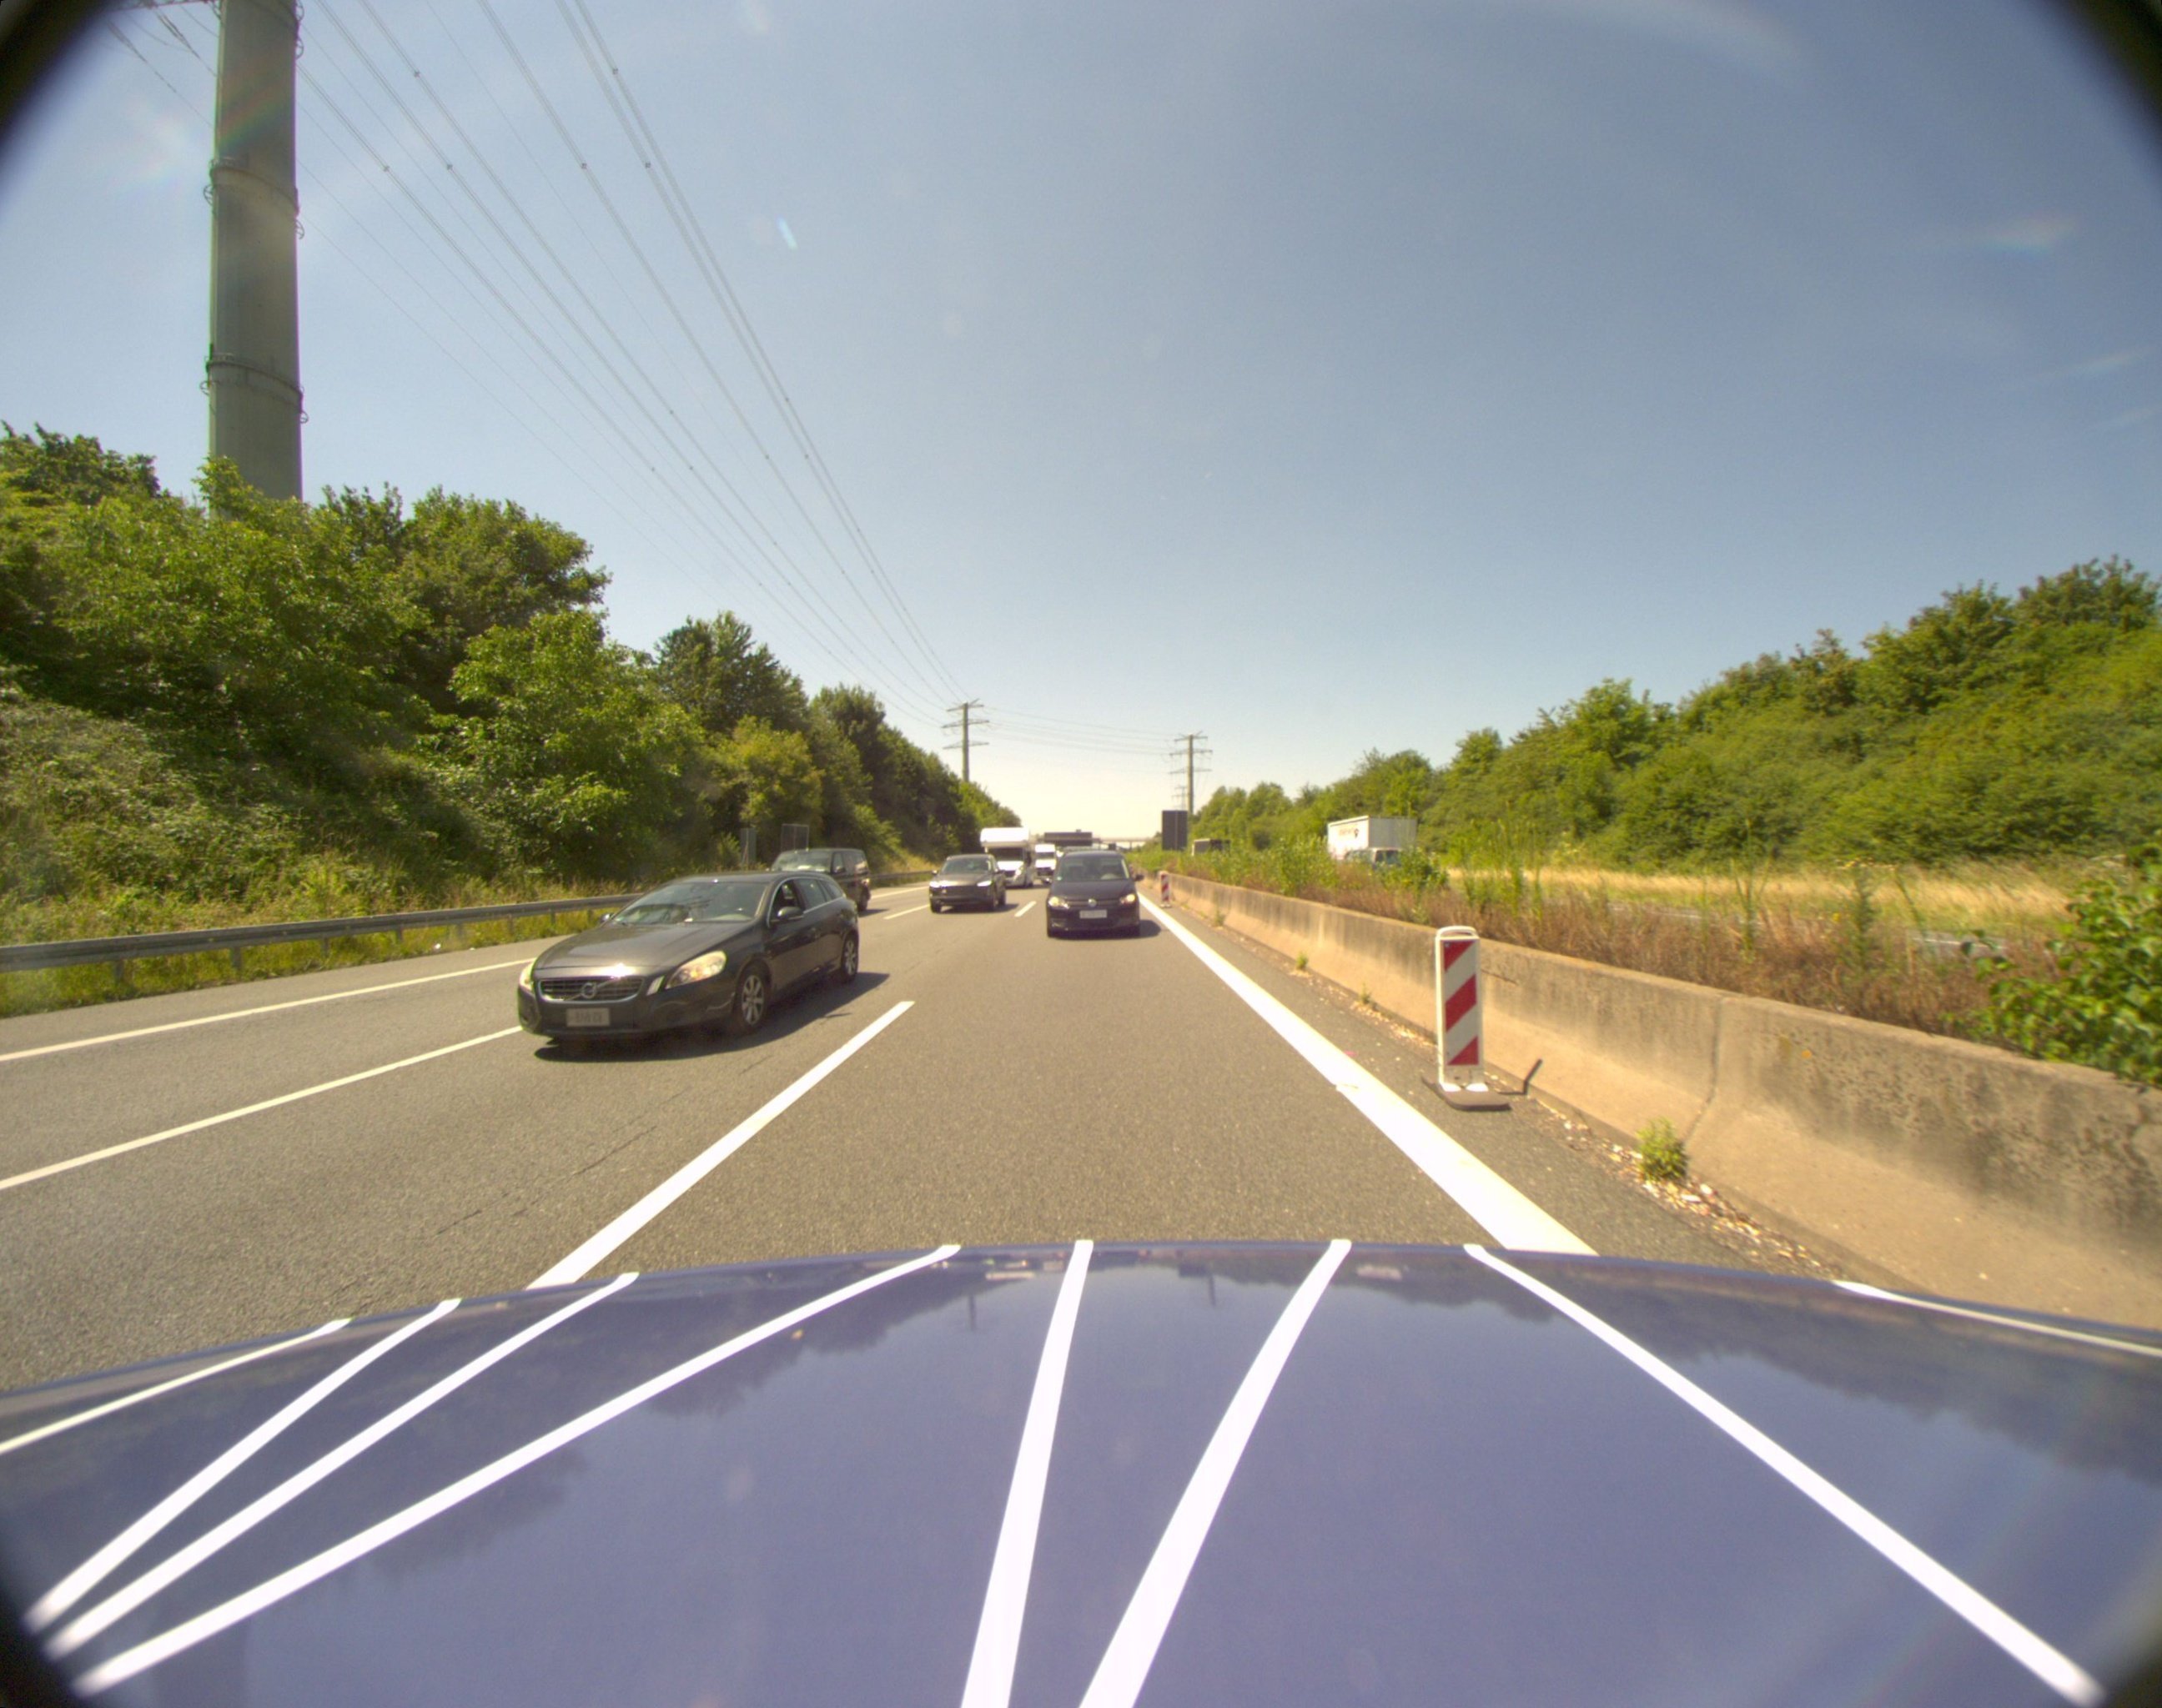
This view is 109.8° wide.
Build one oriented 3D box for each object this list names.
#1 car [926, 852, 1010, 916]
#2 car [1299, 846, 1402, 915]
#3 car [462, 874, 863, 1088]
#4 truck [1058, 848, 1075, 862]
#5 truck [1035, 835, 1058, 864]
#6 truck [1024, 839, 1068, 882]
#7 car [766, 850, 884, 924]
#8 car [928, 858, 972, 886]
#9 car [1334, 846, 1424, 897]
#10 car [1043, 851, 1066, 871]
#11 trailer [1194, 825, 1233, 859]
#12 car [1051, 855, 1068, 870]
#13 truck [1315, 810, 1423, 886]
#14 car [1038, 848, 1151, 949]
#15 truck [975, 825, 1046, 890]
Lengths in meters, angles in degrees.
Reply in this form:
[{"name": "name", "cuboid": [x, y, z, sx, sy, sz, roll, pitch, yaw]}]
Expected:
[{"name": "car", "cuboid": [-3.333, 0.816, 23.205, 1.892, 1.693, 4.383, -2, 0, -1]}, {"name": "car", "cuboid": [8.243, 0.737, 23.642, 1.716, 1.878, 4.109, 3, 1, 1]}, {"name": "car", "cuboid": [-3.780, 1.018, 7.891, 1.800, 1.429, 4.230, -2, 0, -1]}, {"name": "truck", "cuboid": [-2.352, 0.057, 127.567, 2.408, 2.203, 6.744, -2, 0, 2]}, {"name": "truck", "cuboid": [-5.201, -0.753, 116.172, 2.655, 4.128, 11.661, -2, 0, 1]}, {"name": "truck", "cuboid": [-2.577, 0.435, 58.902, 2.514, 2.997, 9.897, -2, 0, 2]}, {"name": "car", "cuboid": [-7.382, 0.867, 22.492, 1.788, 1.893, 4.698, -2, 0, 1]}, {"name": "car", "cuboid": [-7.391, 1.011, 43.189, 1.800, 1.429, 3.731, -2, 0, -1]}, {"name": "car", "cuboid": [12.148, 0.661, 31.357, 1.944, 1.878, 4.428, 3, 1, 1]}, {"name": "car", "cuboid": [-2.438, 0.646, 70.867, 1.892, 1.693, 4.383, -2, 0, -1]}, {"name": "trailer", "cuboid": [17.541, -1.487, 101.647, 2.759, 4.143, 14.196, 2, 0, 1]}, {"name": "car", "cuboid": [-2.651, 1.040, 94.195, 1.892, 1.693, 4.383, -2, 0, -1]}, {"name": "truck", "cuboid": [16.389, -0.319, 44.084, 2.769, 3.866, 9.029, 2, 0, 1]}, {"name": "car", "cuboid": [0.218, 0.756, 15.314, 1.892, 1.693, 4.383, -2, 0, -1]}, {"name": "truck", "cuboid": [-3.588, 0.140, 41.076, 2.514, 2.997, 9.897, -2, 0, 2]}]
